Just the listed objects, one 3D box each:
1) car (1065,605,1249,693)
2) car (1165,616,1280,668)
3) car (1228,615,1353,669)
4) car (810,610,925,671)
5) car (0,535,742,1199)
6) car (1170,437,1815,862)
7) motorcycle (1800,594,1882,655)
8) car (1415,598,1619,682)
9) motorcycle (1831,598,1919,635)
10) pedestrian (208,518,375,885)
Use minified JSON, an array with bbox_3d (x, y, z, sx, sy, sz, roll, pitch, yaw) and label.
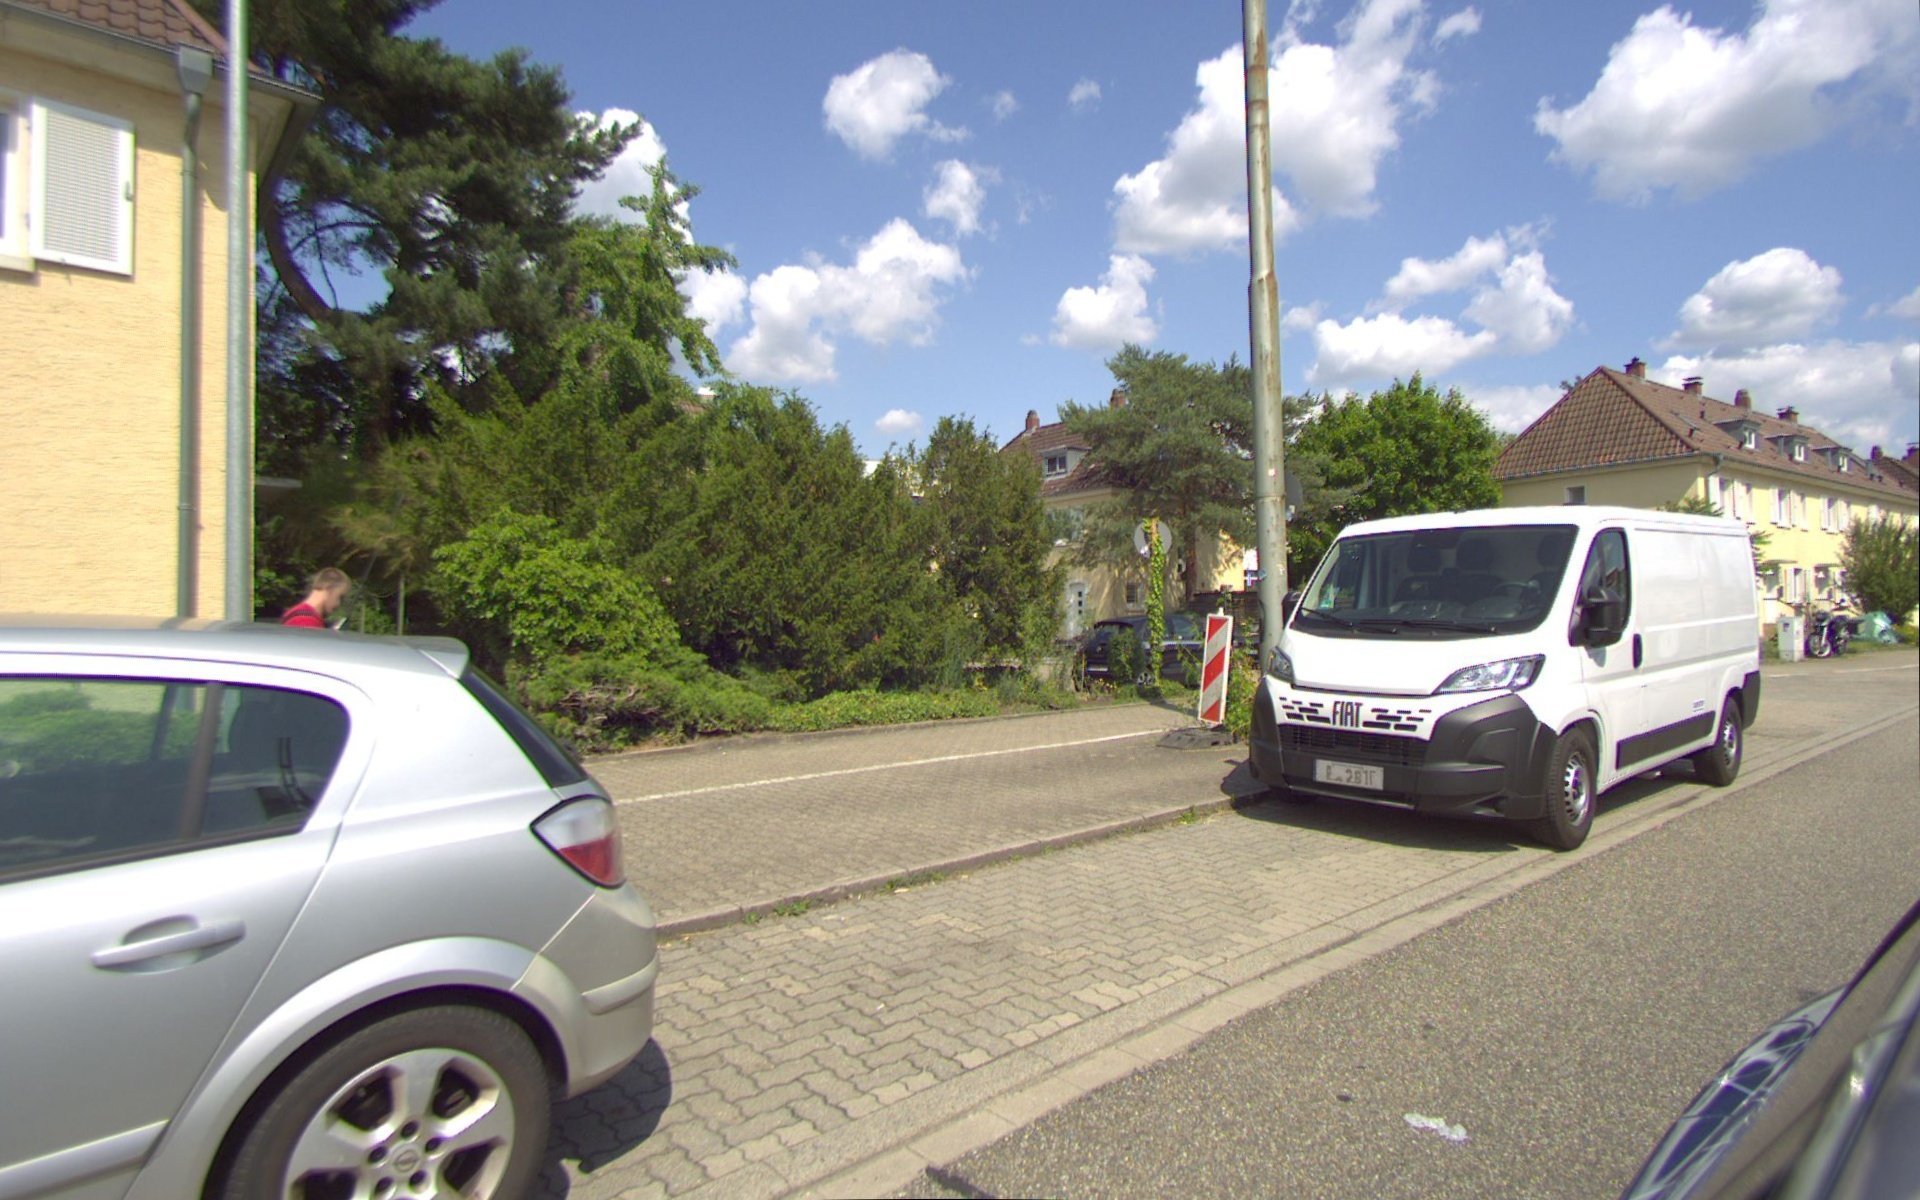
[{"bbox_3d":[4.002,0.919,20.256,3.743,1.567,1.630,-1,-2,-41],"label":"car"},{"bbox_3d":[7.928,1.230,30.398,3.866,1.430,1.540,2,-2,-43],"label":"car"},{"bbox_3d":[9.284,1.169,28.339,3.864,1.416,1.562,2,-3,-41],"label":"car"},{"bbox_3d":[-3.025,1.259,32.406,1.703,1.709,4.121,-4,1,-37],"label":"car"},{"bbox_3d":[-2.657,0.663,1.785,4.183,1.523,1.709,0,-1,-43],"label":"car"},{"bbox_3d":[4.608,0.279,8.131,6.252,2.211,2.281,0,-1,-39],"label":"car"},{"bbox_3d":[22.871,0.608,26.265,2.536,1.488,1.050,0,1,-36],"label":"motorcycle"},{"bbox_3d":[10.476,0.694,18.938,4.206,1.398,1.644,0,-1,-35],"label":"car"},{"bbox_3d":[31.013,0.573,34.180,0.837,1.213,2.235,0,-2,-33],"label":"motorcycle"},{"bbox_3d":[-4.078,0.569,6.171,0.748,2.040,0.774,1,-2,-41],"label":"pedestrian"}]
